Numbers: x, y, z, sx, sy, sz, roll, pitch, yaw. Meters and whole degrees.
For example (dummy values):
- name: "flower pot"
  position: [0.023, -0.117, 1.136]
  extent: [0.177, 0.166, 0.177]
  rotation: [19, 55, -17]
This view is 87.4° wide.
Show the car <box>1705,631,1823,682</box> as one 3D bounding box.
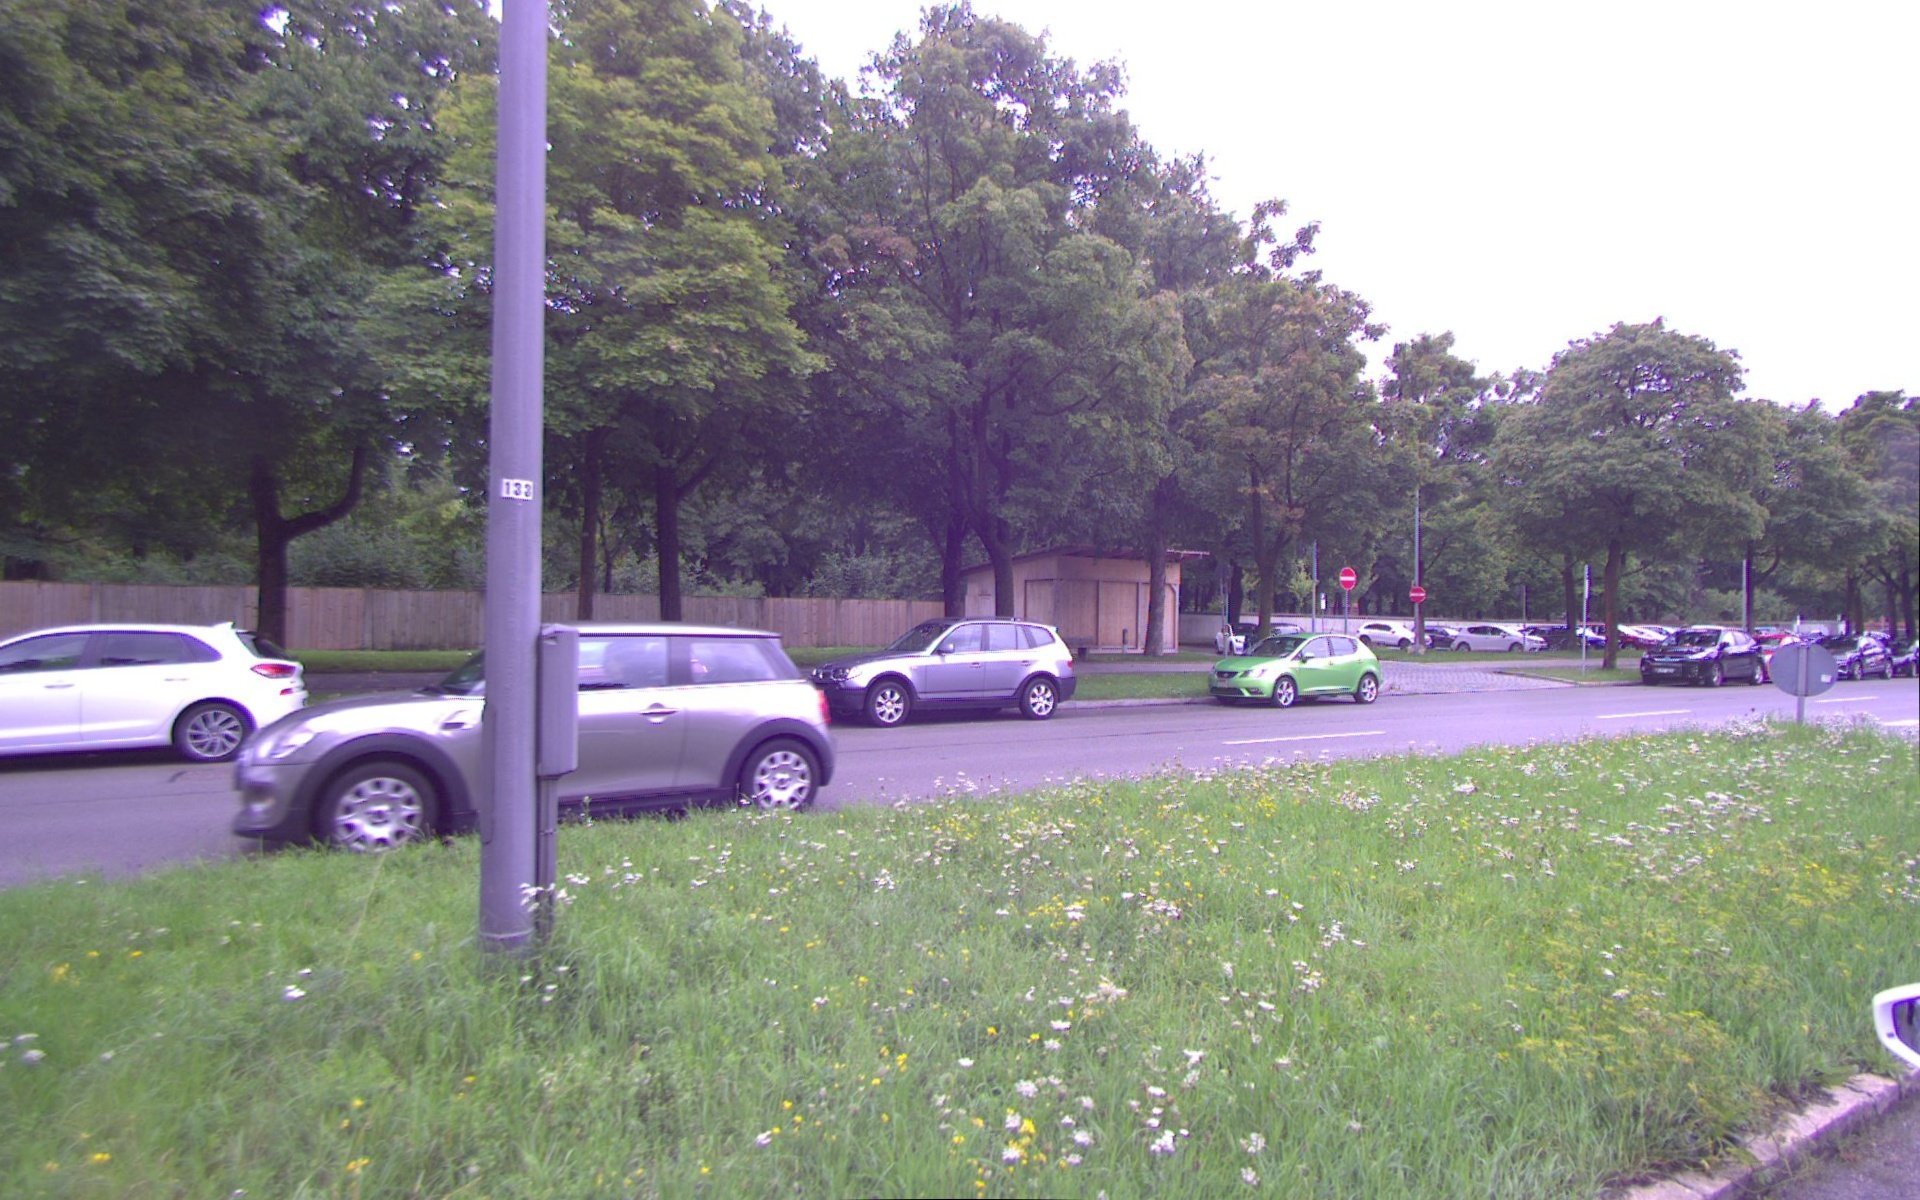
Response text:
- name: "car"
  position: [25.800, 1.803, 32.214]
  extent: [3.768, 1.499, 1.812]
  rotation: [3, -1, -32]

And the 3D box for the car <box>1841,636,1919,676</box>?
- name: "car"
  position: [34.719, 2.061, 37.258]
  extent: [3.951, 1.428, 1.814]
  rotation: [1, -3, -29]

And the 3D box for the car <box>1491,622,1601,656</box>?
- name: "car"
  position: [27.995, 1.836, 48.077]
  extent: [1.978, 1.461, 4.112]
  rotation: [1, -1, -32]

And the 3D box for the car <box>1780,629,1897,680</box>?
- name: "car"
  position: [30.113, 1.842, 34.412]
  extent: [4.063, 1.620, 1.813]
  rotation: [2, -1, -30]

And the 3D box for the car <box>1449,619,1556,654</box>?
- name: "car"
  position: [25.260, 1.677, 46.881]
  extent: [1.981, 1.461, 3.960]
  rotation: [1, -1, -35]

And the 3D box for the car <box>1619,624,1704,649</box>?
- name: "car"
  position: [44.033, 2.287, 63.114]
  extent: [1.981, 1.461, 3.960]
  rotation: [1, -1, -35]

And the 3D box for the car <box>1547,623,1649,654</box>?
- name: "car"
  position: [32.455, 1.931, 51.178]
  extent: [1.981, 1.461, 3.960]
  rotation: [1, -1, -35]

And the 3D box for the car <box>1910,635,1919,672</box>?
- name: "car"
  position: [39.721, 2.128, 40.148]
  extent: [3.960, 1.466, 1.810]
  rotation: [2, -2, -35]

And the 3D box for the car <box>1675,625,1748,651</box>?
- name: "car"
  position: [62.796, 3.161, 84.045]
  extent: [1.977, 2.061, 4.483]
  rotation: [1, -1, -31]

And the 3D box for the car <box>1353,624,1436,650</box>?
- name: "car"
  position: [26.624, 2.246, 61.723]
  extent: [1.975, 1.461, 4.488]
  rotation: [1, -1, -27]

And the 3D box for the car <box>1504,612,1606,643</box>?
- name: "car"
  position: [29.641, 1.352, 50.146]
  extent: [1.981, 1.461, 3.960]
  rotation: [1, -1, -35]

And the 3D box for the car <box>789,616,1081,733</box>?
- name: "car"
  position: [-0.348, 1.117, 16.166]
  extent: [4.405, 1.652, 1.812]
  rotation: [1, -2, -31]

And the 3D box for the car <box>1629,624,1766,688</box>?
- name: "car"
  position: [21.537, 1.622, 29.306]
  extent: [4.193, 1.722, 1.811]
  rotation: [3, -1, -32]

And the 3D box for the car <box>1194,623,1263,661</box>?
- name: "car"
  position: [11.094, 1.700, 41.755]
  extent: [1.822, 1.428, 3.859]
  rotation: [1, -1, 0]

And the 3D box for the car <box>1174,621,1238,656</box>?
- name: "car"
  position: [11.154, 1.719, 45.822]
  extent: [1.822, 1.428, 4.469]
  rotation: [1, -1, 0]

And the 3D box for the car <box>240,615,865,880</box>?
- name: "car"
  position: [-2.711, 0.857, 7.083]
  extent: [3.727, 1.400, 1.708]
  rotation: [1, -3, -33]

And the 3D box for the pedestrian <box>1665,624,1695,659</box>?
- name: "pedestrian"
  position: [31.791, 1.823, 44.355]
  extent: [0.846, 1.515, 0.791]
  rotation: [1, -1, -30]

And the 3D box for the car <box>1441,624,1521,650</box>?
- name: "car"
  position: [35.512, 2.492, 68.592]
  extent: [1.977, 1.647, 4.483]
  rotation: [1, -1, -31]

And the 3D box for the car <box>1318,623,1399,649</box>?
- name: "car"
  position: [24.264, 2.184, 61.306]
  extent: [1.974, 1.461, 4.490]
  rotation: [1, -1, -26]

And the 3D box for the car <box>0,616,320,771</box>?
- name: "car"
  position: [-9.402, 0.956, 10.721]
  extent: [4.209, 1.496, 1.813]
  rotation: [1, -3, -30]

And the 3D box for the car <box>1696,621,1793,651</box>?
- name: "car"
  position: [44.362, 1.998, 56.887]
  extent: [1.792, 1.591, 3.970]
  rotation: [1, -1, -28]

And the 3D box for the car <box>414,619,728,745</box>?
- name: "car"
  position: [-5.060, 1.019, 13.158]
  extent: [3.643, 1.440, 1.642]
  rotation: [1, -3, -30]

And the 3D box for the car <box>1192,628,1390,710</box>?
- name: "car"
  position: [6.763, 1.346, 20.443]
  extent: [3.952, 1.519, 1.633]
  rotation: [1, -2, -30]

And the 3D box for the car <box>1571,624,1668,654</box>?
- name: "car"
  position: [35.387, 2.056, 53.978]
  extent: [1.981, 1.461, 3.960]
  rotation: [1, -1, -35]
